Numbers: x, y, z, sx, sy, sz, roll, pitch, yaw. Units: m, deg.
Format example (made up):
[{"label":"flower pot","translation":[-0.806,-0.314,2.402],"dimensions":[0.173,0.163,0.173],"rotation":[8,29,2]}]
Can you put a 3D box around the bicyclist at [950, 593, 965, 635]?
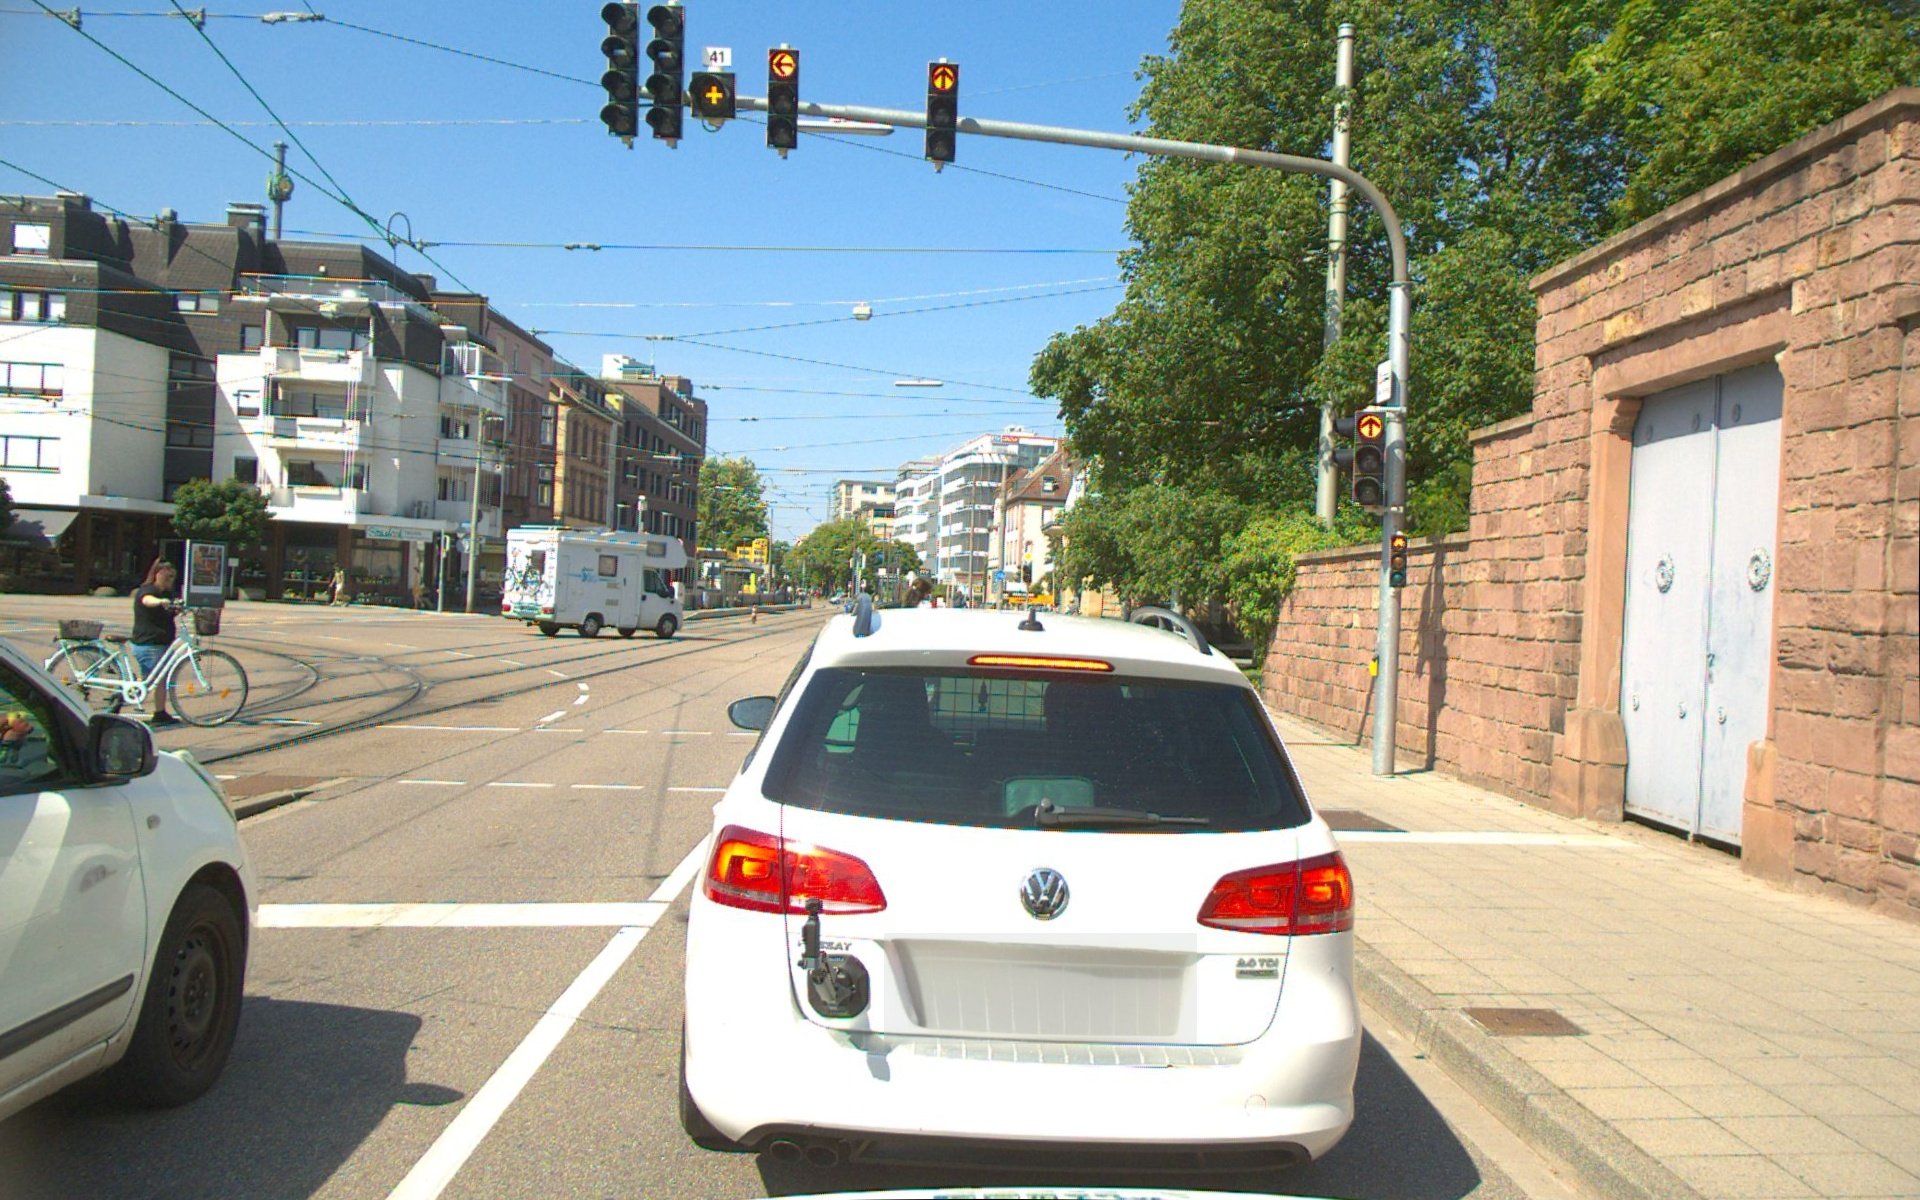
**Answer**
[{"label":"bicyclist","translation":[-0.097,0.550,64.745],"dimensions":[0.549,1.641,0.638],"rotation":[0,-1,1]}]

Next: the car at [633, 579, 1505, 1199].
[{"label":"car","translation":[0.193,0.716,5.431],"dimensions":[1.771,1.473,3.999],"rotation":[2,0,-1]}]

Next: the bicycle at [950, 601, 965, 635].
[{"label":"bicycle","translation":[-0.096,0.713,64.753],"dimensions":[0.546,1.320,2.249],"rotation":[0,-1,1]}]

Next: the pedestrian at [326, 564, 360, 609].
[{"label":"pedestrian","translation":[-25.048,-0.533,67.116],"dimensions":[0.847,1.773,0.971],"rotation":[0,-1,37]}]

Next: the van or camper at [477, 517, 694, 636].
[{"label":"van or camper","translation":[-10.516,-0.580,46.877],"dimensions":[2.526,3.147,5.676],"rotation":[0,-1,38]}]

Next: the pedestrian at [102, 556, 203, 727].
[{"label":"pedestrian","translation":[-7.718,0.390,15.827],"dimensions":[0.733,1.599,0.672],"rotation":[1,0,-16]}]

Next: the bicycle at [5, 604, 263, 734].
[{"label":"bicycle","translation":[-7.575,0.635,15.262],"dimensions":[1.986,1.109,0.707],"rotation":[2,0,-16]}]

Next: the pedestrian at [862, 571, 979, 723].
[{"label":"pedestrian","translation":[-0.451,0.526,18.965],"dimensions":[0.937,1.680,0.970],"rotation":[0,-1,38]}]

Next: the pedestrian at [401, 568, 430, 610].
[{"label":"pedestrian","translation":[-23.272,-0.446,70.703],"dimensions":[0.963,1.773,0.855],"rotation":[1,-1,-33]}]

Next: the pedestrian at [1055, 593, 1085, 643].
[{"label":"pedestrian","translation":[3.909,0.645,58.695],"dimensions":[0.846,1.773,0.972],"rotation":[1,-1,-10]}]

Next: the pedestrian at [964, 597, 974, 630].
[{"label":"pedestrian","translation":[0.668,1.000,120.486],"dimensions":[0.675,2.366,1.232],"rotation":[0,-1,0]}]

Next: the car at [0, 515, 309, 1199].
[{"label":"car","translation":[-2.837,0.611,3.315],"dimensions":[1.608,1.593,3.803],"rotation":[1,1,-1]}]
